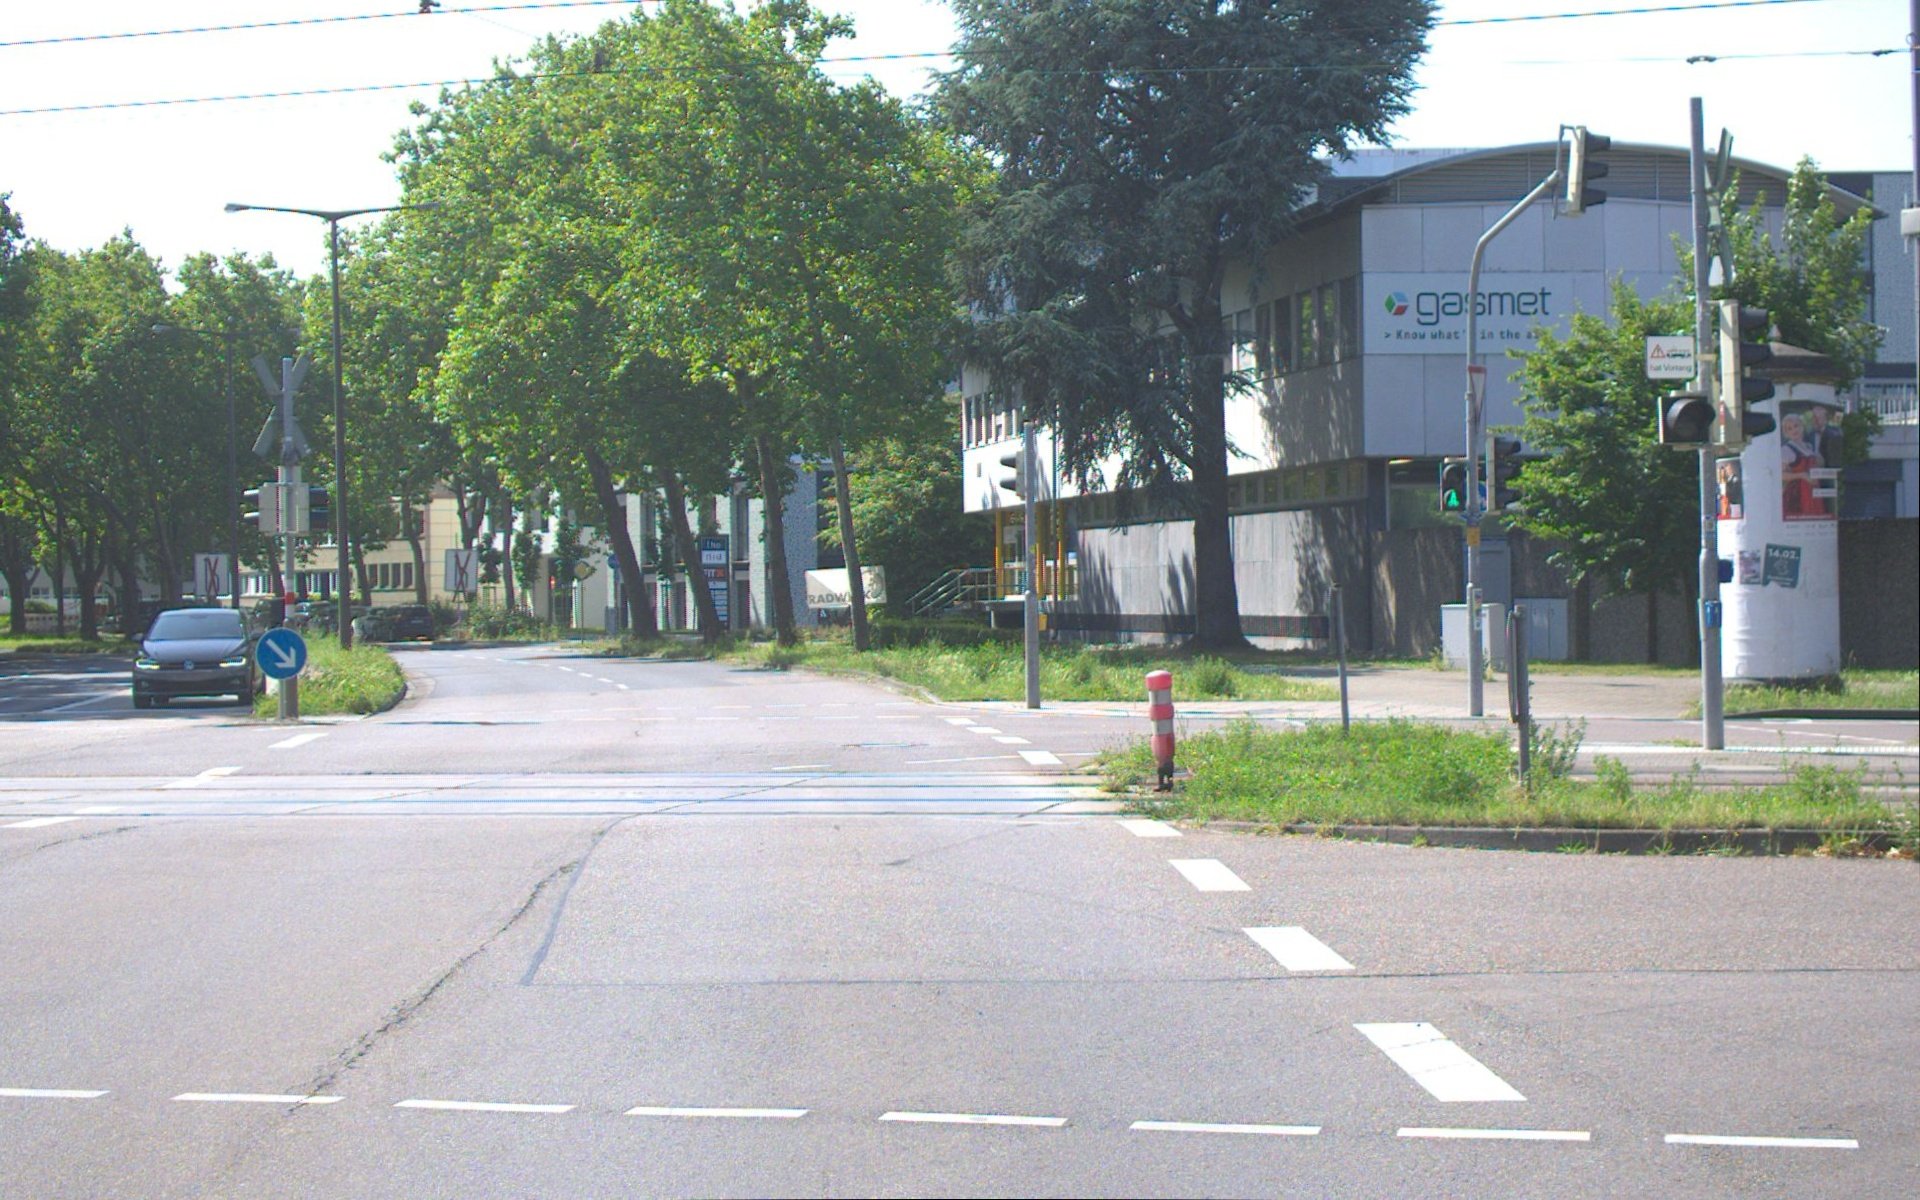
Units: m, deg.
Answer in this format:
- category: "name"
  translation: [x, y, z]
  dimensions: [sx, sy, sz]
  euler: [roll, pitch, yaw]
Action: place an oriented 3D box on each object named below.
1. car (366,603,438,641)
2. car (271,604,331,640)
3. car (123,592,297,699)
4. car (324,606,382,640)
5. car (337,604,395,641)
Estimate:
- category: "car"
  translation: [-22.976, 0.890, 141.414]
  dimensions: [1.706, 1.482, 4.720]
  euler: [-2, 1, -24]
- category: "car"
  translation: [-31.250, 1.032, 162.891]
  dimensions: [1.706, 1.664, 4.534]
  euler: [-1, 0, -25]
- category: "car"
  translation: [-11.202, 0.647, 51.579]
  dimensions: [1.694, 1.503, 4.129]
  euler: [-1, 0, 0]
- category: "car"
  translation: [-26.789, 1.011, 151.668]
  dimensions: [1.706, 1.450, 4.657]
  euler: [-1, 0, -20]
- category: "car"
  translation: [-25.315, 0.940, 146.414]
  dimensions: [1.706, 1.482, 4.102]
  euler: [-1, 0, -20]
